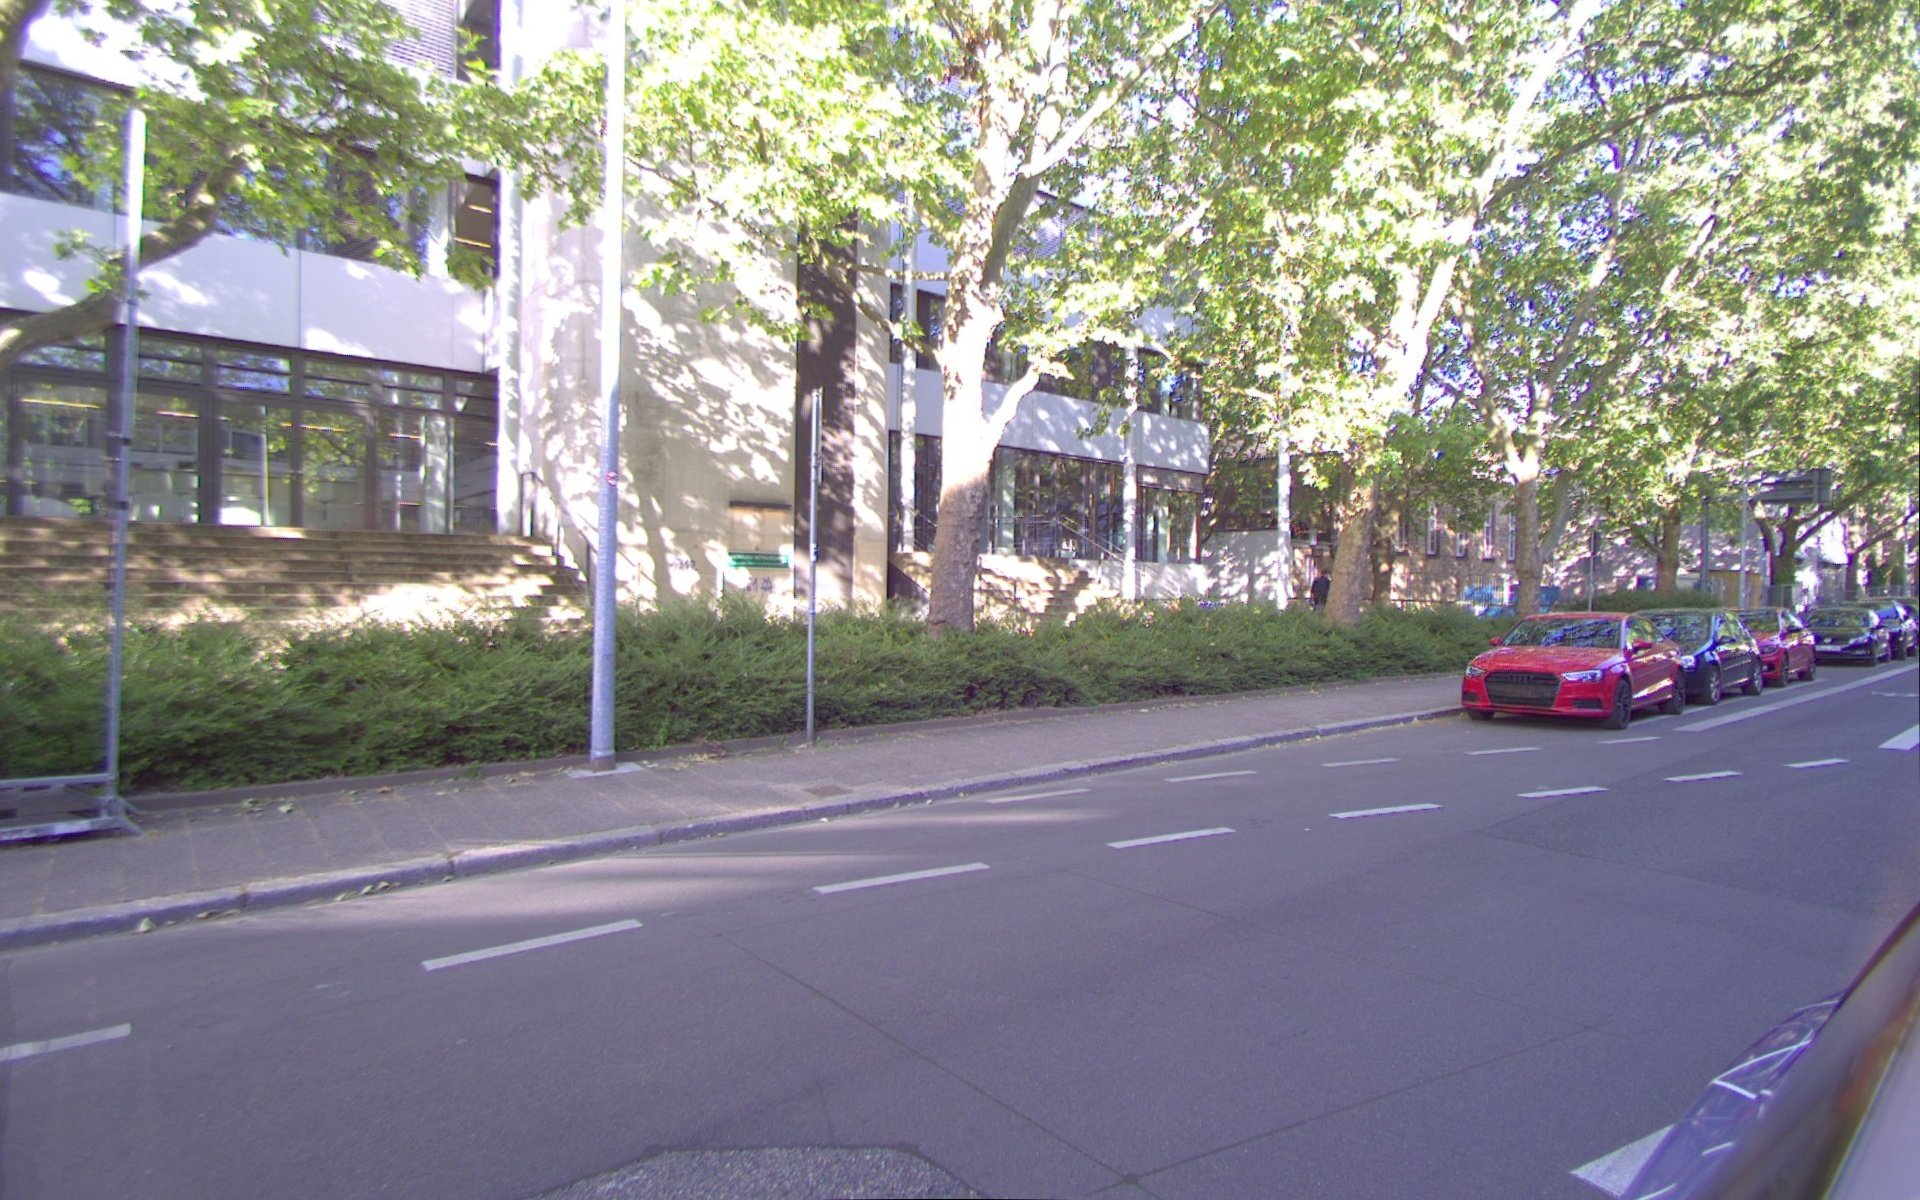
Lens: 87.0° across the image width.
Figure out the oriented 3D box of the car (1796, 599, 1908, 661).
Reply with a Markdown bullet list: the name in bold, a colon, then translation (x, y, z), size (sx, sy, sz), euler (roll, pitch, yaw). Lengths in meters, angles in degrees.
- **car**: translation (22.945, 0.711, 25.995), size (3.855, 1.441, 1.691), euler (-1, 0, -41)

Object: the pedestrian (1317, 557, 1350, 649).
- **pedestrian**: translation (8.370, 0.061, 22.664), size (0.549, 2.039, 0.555), euler (0, 0, 38)

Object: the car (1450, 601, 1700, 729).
- **car**: translation (8.298, 0.736, 13.523), size (3.931, 1.409, 1.792), euler (-1, 1, -42)

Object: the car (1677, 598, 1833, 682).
- **car**: translation (15.740, 0.707, 19.980), size (3.854, 1.467, 1.691), euler (-1, 0, -40)

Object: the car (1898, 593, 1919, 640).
- **car**: translation (35.532, 0.572, 36.793), size (4.497, 1.633, 1.632), euler (-1, 0, -41)

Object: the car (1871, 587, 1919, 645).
- **car**: translation (31.168, 0.472, 33.021), size (4.497, 1.814, 1.632), euler (-1, 0, -41)

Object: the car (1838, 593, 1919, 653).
- **car**: translation (26.630, 0.603, 29.053), size (4.158, 1.598, 1.632), euler (-1, 0, -41)

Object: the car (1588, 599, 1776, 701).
- **car**: translation (11.852, 0.729, 16.553), size (3.632, 1.436, 1.668), euler (-1, 0, -40)
